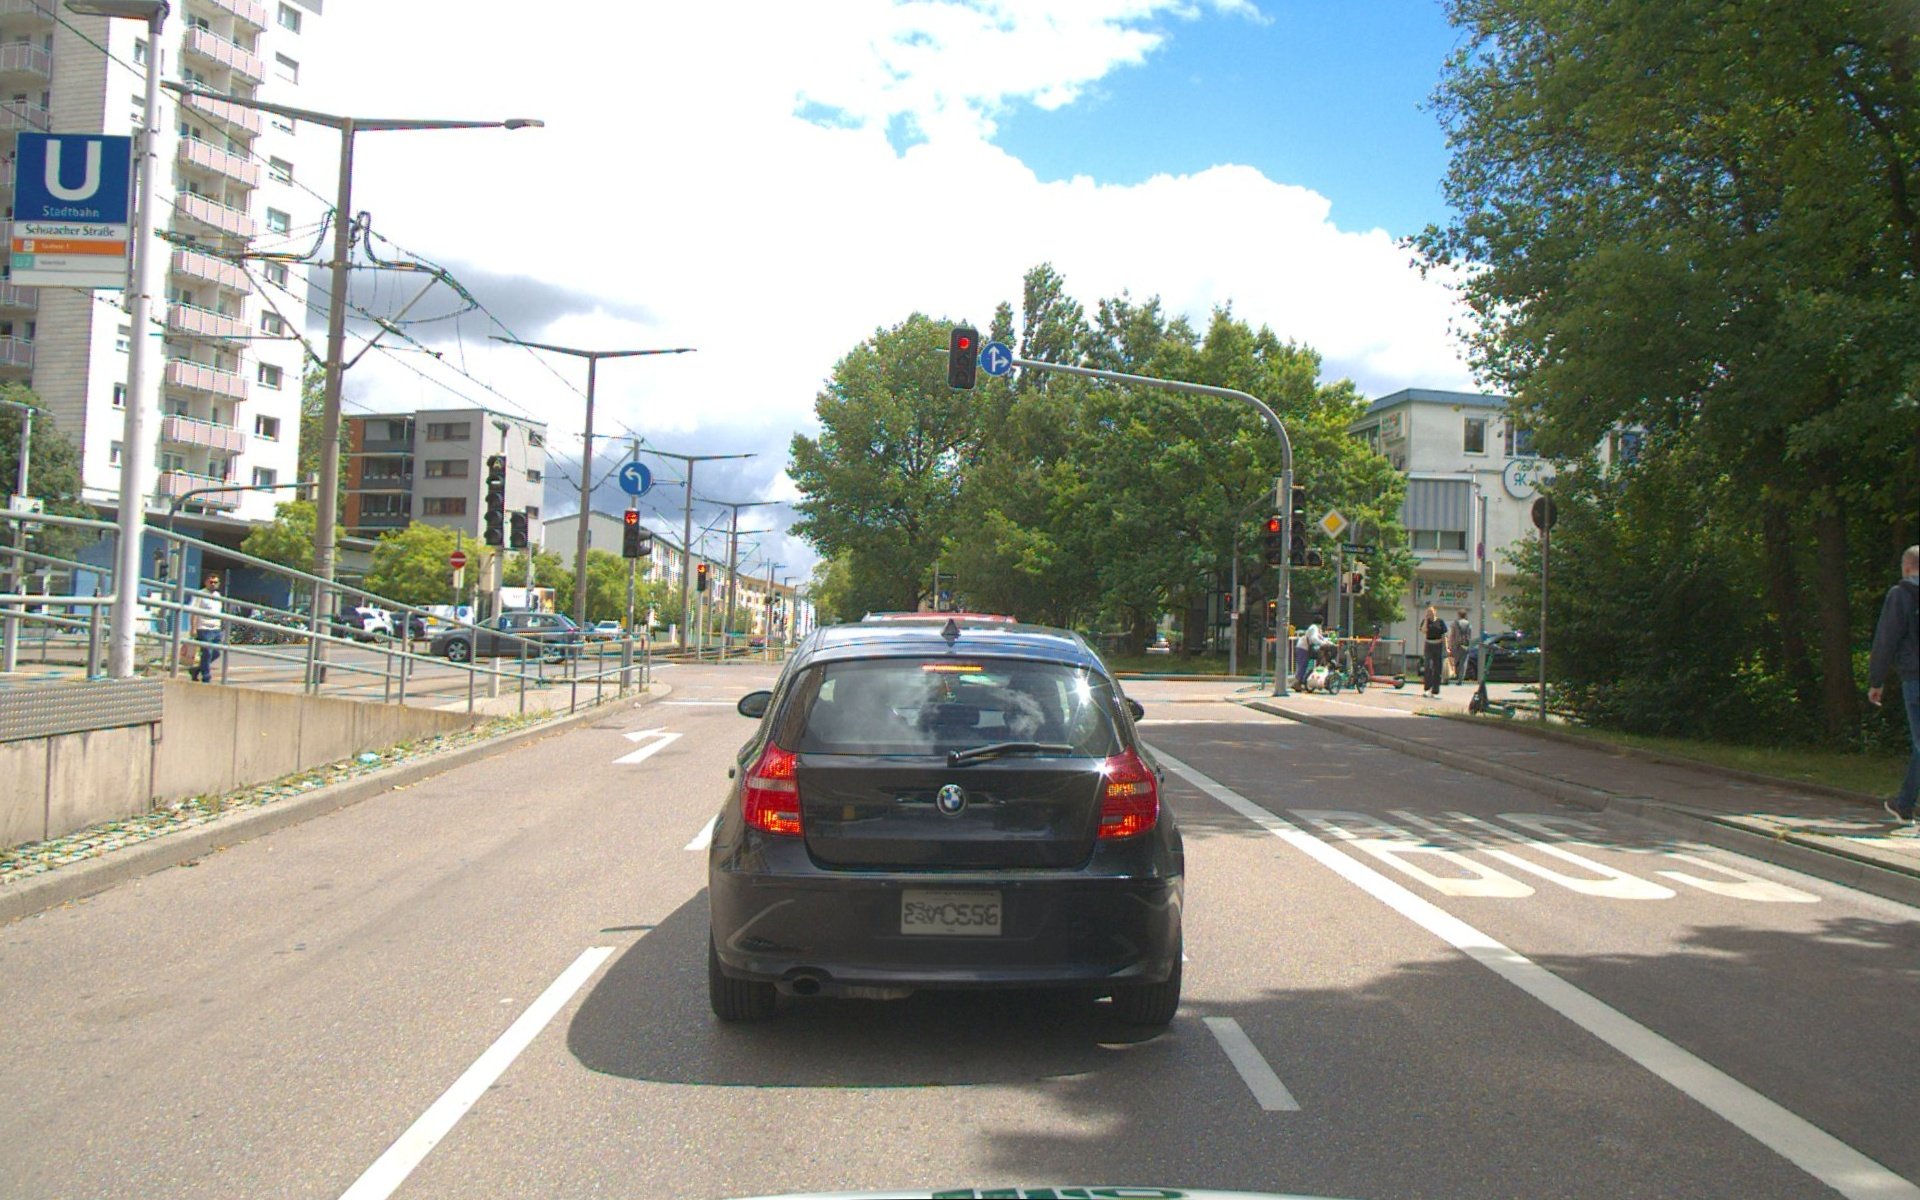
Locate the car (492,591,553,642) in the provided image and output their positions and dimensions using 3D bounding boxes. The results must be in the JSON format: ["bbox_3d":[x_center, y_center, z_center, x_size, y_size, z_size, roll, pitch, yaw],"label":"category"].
[{"bbox_3d":[-24.152,0.919,91.474,2.096,2.686,5.356,1,0,-2],"label":"car"}]

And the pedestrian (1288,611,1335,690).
[{"bbox_3d":[6.686,0.948,31.441,0.846,1.468,0.799,0,-1,13],"label":"pedestrian"}]

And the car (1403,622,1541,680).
[{"bbox_3d":[15.017,1.499,48.551,3.515,1.629,1.706,1,-1,-13],"label":"car"}]

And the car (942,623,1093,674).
[{"bbox_3d":[1.699,1.450,49.376,4.243,1.419,1.709,1,0,-9],"label":"car"}]

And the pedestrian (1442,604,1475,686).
[{"bbox_3d":[11.462,1.036,38.008,0.600,1.821,0.569,4,-1,18],"label":"pedestrian"}]

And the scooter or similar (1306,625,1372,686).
[{"bbox_3d":[7.613,1.109,33.186,1.267,1.210,0.383,1,-1,-17],"label":"scooter or similar"}]

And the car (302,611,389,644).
[{"bbox_3d":[-28.806,1.275,77.570,3.537,1.488,1.613,1,0,-9],"label":"car"}]

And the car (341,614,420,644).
[{"bbox_3d":[-29.588,1.469,84.548,3.537,1.488,1.613,1,0,-9],"label":"car"}]

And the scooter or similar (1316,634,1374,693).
[{"bbox_3d":[7.330,1.196,31.416,0.402,1.069,1.779,1,0,36],"label":"scooter or similar"}]

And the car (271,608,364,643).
[{"bbox_3d":[-28.389,1.122,73.193,3.537,1.488,1.613,1,0,-9],"label":"car"}]

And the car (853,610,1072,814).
[{"bbox_3d":[0.017,0.821,13.732,1.562,1.443,3.516,1,0,0],"label":"car"}]

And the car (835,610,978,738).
[{"bbox_3d":[-0.683,0.859,20.732,1.621,1.443,3.515,1,0,-2],"label":"car"}]

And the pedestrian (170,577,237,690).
[{"bbox_3d":[-11.820,0.514,25.854,0.684,1.726,0.846,2,-1,-44],"label":"pedestrian"}]

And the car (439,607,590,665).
[{"bbox_3d":[-12.547,1.023,46.766,3.913,1.553,1.672,1,0,-9],"label":"car"}]

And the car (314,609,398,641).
[{"bbox_3d":[-29.323,1.217,80.412,3.537,1.488,1.613,1,-1,-9],"label":"car"}]

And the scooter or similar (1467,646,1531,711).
[{"bbox_3d":[9.384,1.361,28.796,1.133,1.118,0.329,1,-1,-25],"label":"scooter or similar"}]

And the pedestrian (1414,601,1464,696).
[{"bbox_3d":[9.525,0.960,32.886,0.745,1.821,0.568,4,-1,25],"label":"pedestrian"}]

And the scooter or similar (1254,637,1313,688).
[{"bbox_3d":[6.266,1.204,32.016,1.102,0.974,0.299,1,-1,-17],"label":"scooter or similar"}]

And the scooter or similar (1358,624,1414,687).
[{"bbox_3d":[8.787,1.143,34.089,1.087,1.280,0.331,1,-1,-13],"label":"scooter or similar"}]

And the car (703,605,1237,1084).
[{"bbox_3d":[0.064,0.756,6.843,1.620,1.443,3.517,1,0,1],"label":"car"}]

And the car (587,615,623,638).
[{"bbox_3d":[-26.285,1.927,122.619,1.927,1.624,3.997,1,0,-3],"label":"car"}]

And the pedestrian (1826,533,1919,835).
[{"bbox_3d":[6.533,0.550,11.055,0.785,1.928,1.270,2,-1,0],"label":"pedestrian"}]
